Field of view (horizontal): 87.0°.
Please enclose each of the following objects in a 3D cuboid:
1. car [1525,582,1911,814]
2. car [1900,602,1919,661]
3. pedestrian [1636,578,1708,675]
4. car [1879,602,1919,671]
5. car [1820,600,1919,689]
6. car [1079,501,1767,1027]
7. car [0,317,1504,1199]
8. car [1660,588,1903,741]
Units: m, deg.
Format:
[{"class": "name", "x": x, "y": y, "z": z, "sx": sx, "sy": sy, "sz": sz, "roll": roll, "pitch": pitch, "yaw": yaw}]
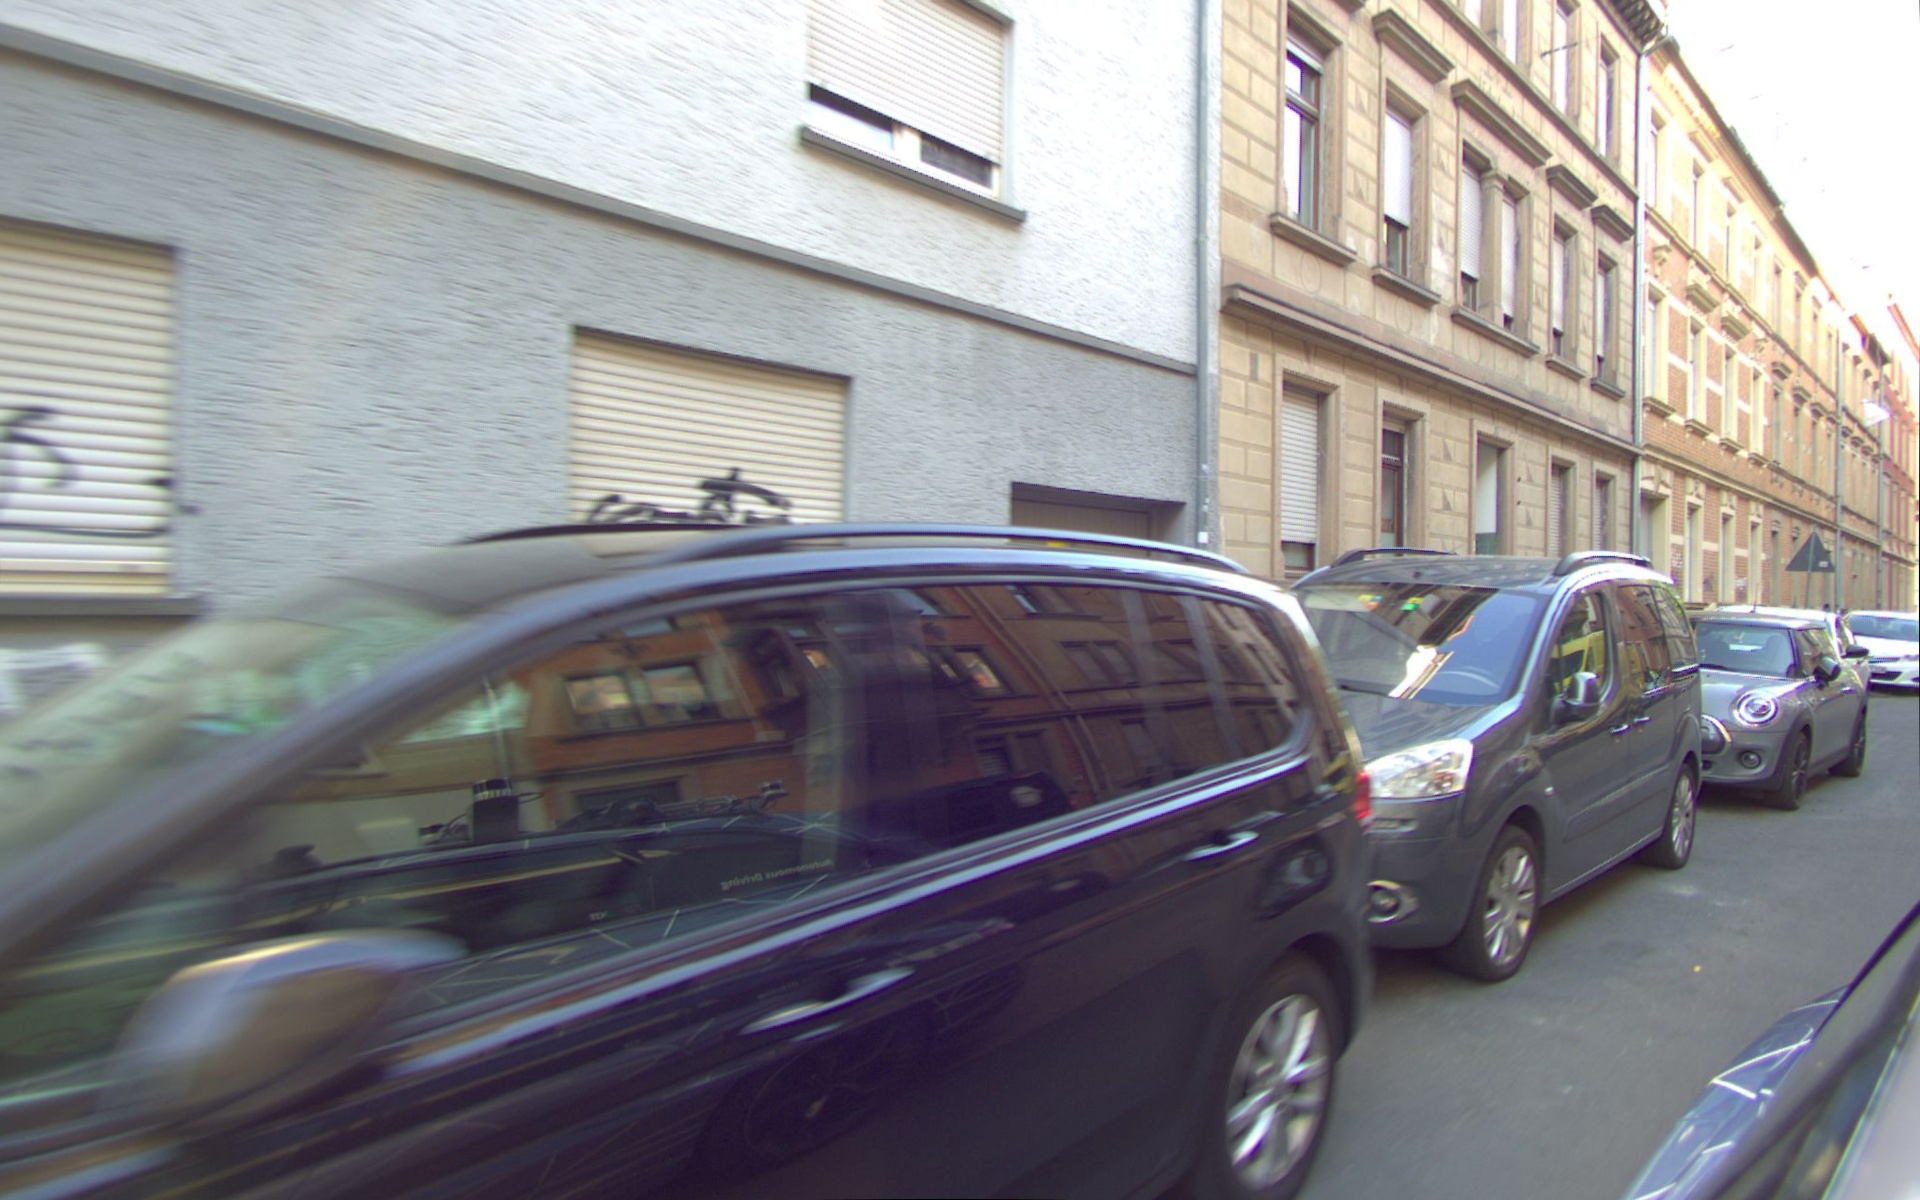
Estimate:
[{"class": "car", "x": 6.840, "y": 0.689, "z": 8.963, "sx": 4.211, "sy": 1.470, "sz": 1.758, "roll": 1, "pitch": 4, "yaw": -40}, {"class": "car", "x": 25.804, "y": 0.869, "z": 26.261, "sx": 4.025, "sy": 1.434, "sz": 1.728, "roll": 1, "pitch": 4, "yaw": -44}, {"class": "pedestrian", "x": 12.743, "y": 0.452, "z": 18.133, "sx": 0.644, "sy": 1.650, "sz": 0.879, "roll": 2, "pitch": 2, "yaw": 7}, {"class": "car", "x": 22.392, "y": 0.830, "z": 23.081, "sx": 4.001, "sy": 1.463, "sz": 1.756, "roll": 0, "pitch": 4, "yaw": -44}, {"class": "car", "x": 18.541, "y": 0.830, "z": 20.063, "sx": 4.013, "sy": 1.498, "sz": 1.724, "roll": 0, "pitch": 4, "yaw": -43}, {"class": "car", "x": 2.900, "y": 0.541, "z": 5.681, "sx": 4.642, "sy": 1.808, "sz": 1.757, "roll": 1, "pitch": 2, "yaw": -42}, {"class": "car", "x": -0.629, "y": 0.590, "z": 2.224, "sx": 4.316, "sy": 1.660, "sz": 1.903, "roll": 0, "pitch": 1, "yaw": -42}, {"class": "car", "x": 10.739, "y": 0.716, "z": 13.106, "sx": 4.368, "sy": 1.536, "sz": 1.757, "roll": 1, "pitch": 4, "yaw": -43}]
